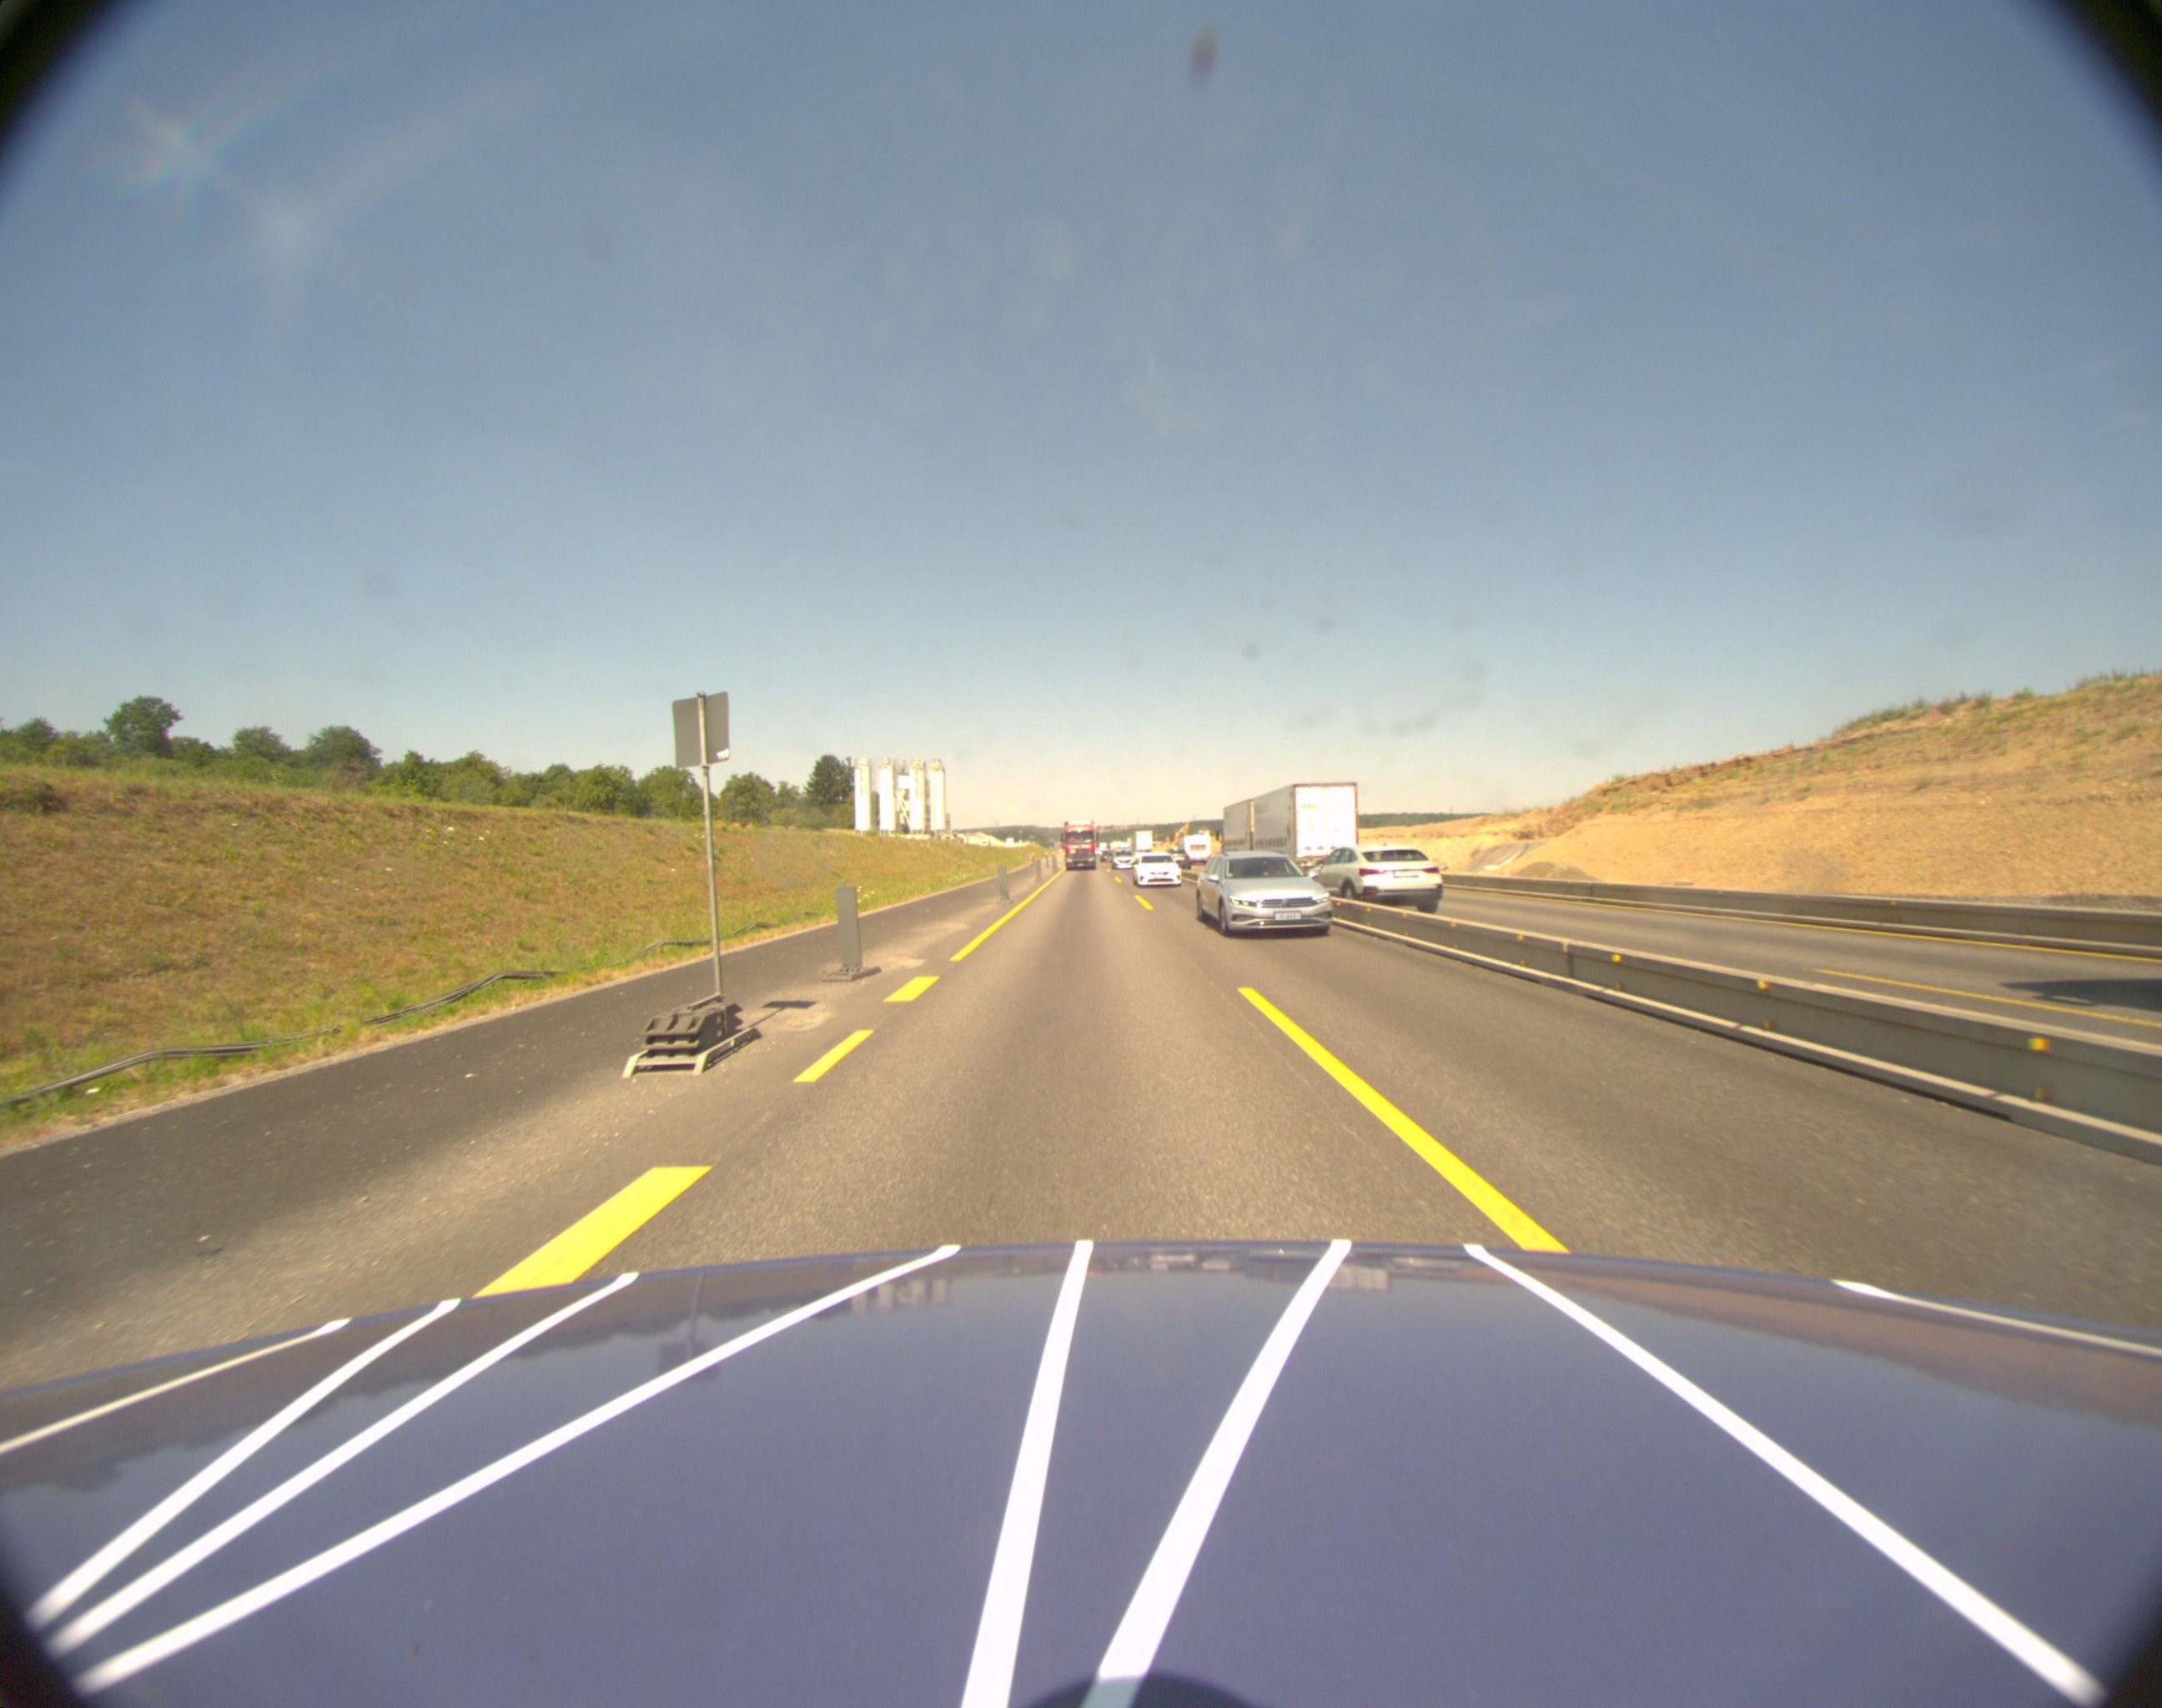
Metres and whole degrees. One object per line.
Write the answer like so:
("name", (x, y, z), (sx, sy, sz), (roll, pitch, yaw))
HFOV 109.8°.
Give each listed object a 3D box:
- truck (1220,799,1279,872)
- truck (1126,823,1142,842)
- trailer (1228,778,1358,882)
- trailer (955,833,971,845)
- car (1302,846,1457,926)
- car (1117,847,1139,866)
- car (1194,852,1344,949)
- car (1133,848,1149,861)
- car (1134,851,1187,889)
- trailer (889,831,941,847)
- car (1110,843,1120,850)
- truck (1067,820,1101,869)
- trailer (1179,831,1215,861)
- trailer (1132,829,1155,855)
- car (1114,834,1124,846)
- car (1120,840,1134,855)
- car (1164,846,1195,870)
("truck", (10.230, -1.115, 46.578), (2.497, 4.174, 5.911), (0, 1, 2))
("truck", (10.985, -4.522, 158.688), (2.651, 3.695, 9.480), (-2, 1, 1))
("trailer", (10.025, -1.035, 38.283), (2.508, 4.155, 15.532), (0, 1, 1))
("trailer", (-26.782, -3.527, 173.122), (1.998, 2.629, 6.936), (-2, 1, 4))
("car", (6.559, 0.604, 17.221), (1.812, 1.480, 4.242), (-2, 1, 0))
("car", (3.745, 0.151, 61.234), (1.601, 1.390, 3.695), (-2, 1, 1))
("car", (3.362, 0.746, 14.405), (1.804, 1.499, 4.100), (-2, 0, 0))
("car", (7.476, 0.036, 94.828), (1.693, 1.493, 3.975), (-2, 1, 0))
("car", (3.335, 0.621, 32.570), (1.875, 1.390, 4.029), (-2, 1, 1))
("trailer", (-30.277, -2.750, 138.578), (8.919, 2.592, 2.463), (-1, 1, -3))
("car", (7.719, -1.653, 172.689), (1.863, 1.434, 4.499), (-2, 1, -3))
("truck", (0.330, -0.872, 65.277), (2.537, 3.799, 9.480), (-2, 1, 2))
("trailer", (10.692, -0.723, 70.374), (2.317, 2.671, 6.755), (0, 1, 0))
("trailer", (10.670, -2.106, 130.888), (2.861, 4.070, 13.649), (-1, 1, 1))
("car", (11.892, -4.414, 239.107), (2.915, 3.719, 8.090), (-2, 0, 1))
("car", (7.782, -1.116, 128.678), (1.998, 2.279, 5.342), (-2, 1, 0))
("car", (7.207, 0.274, 55.842), (1.693, 1.604, 4.592), (-2, 1, 0))
